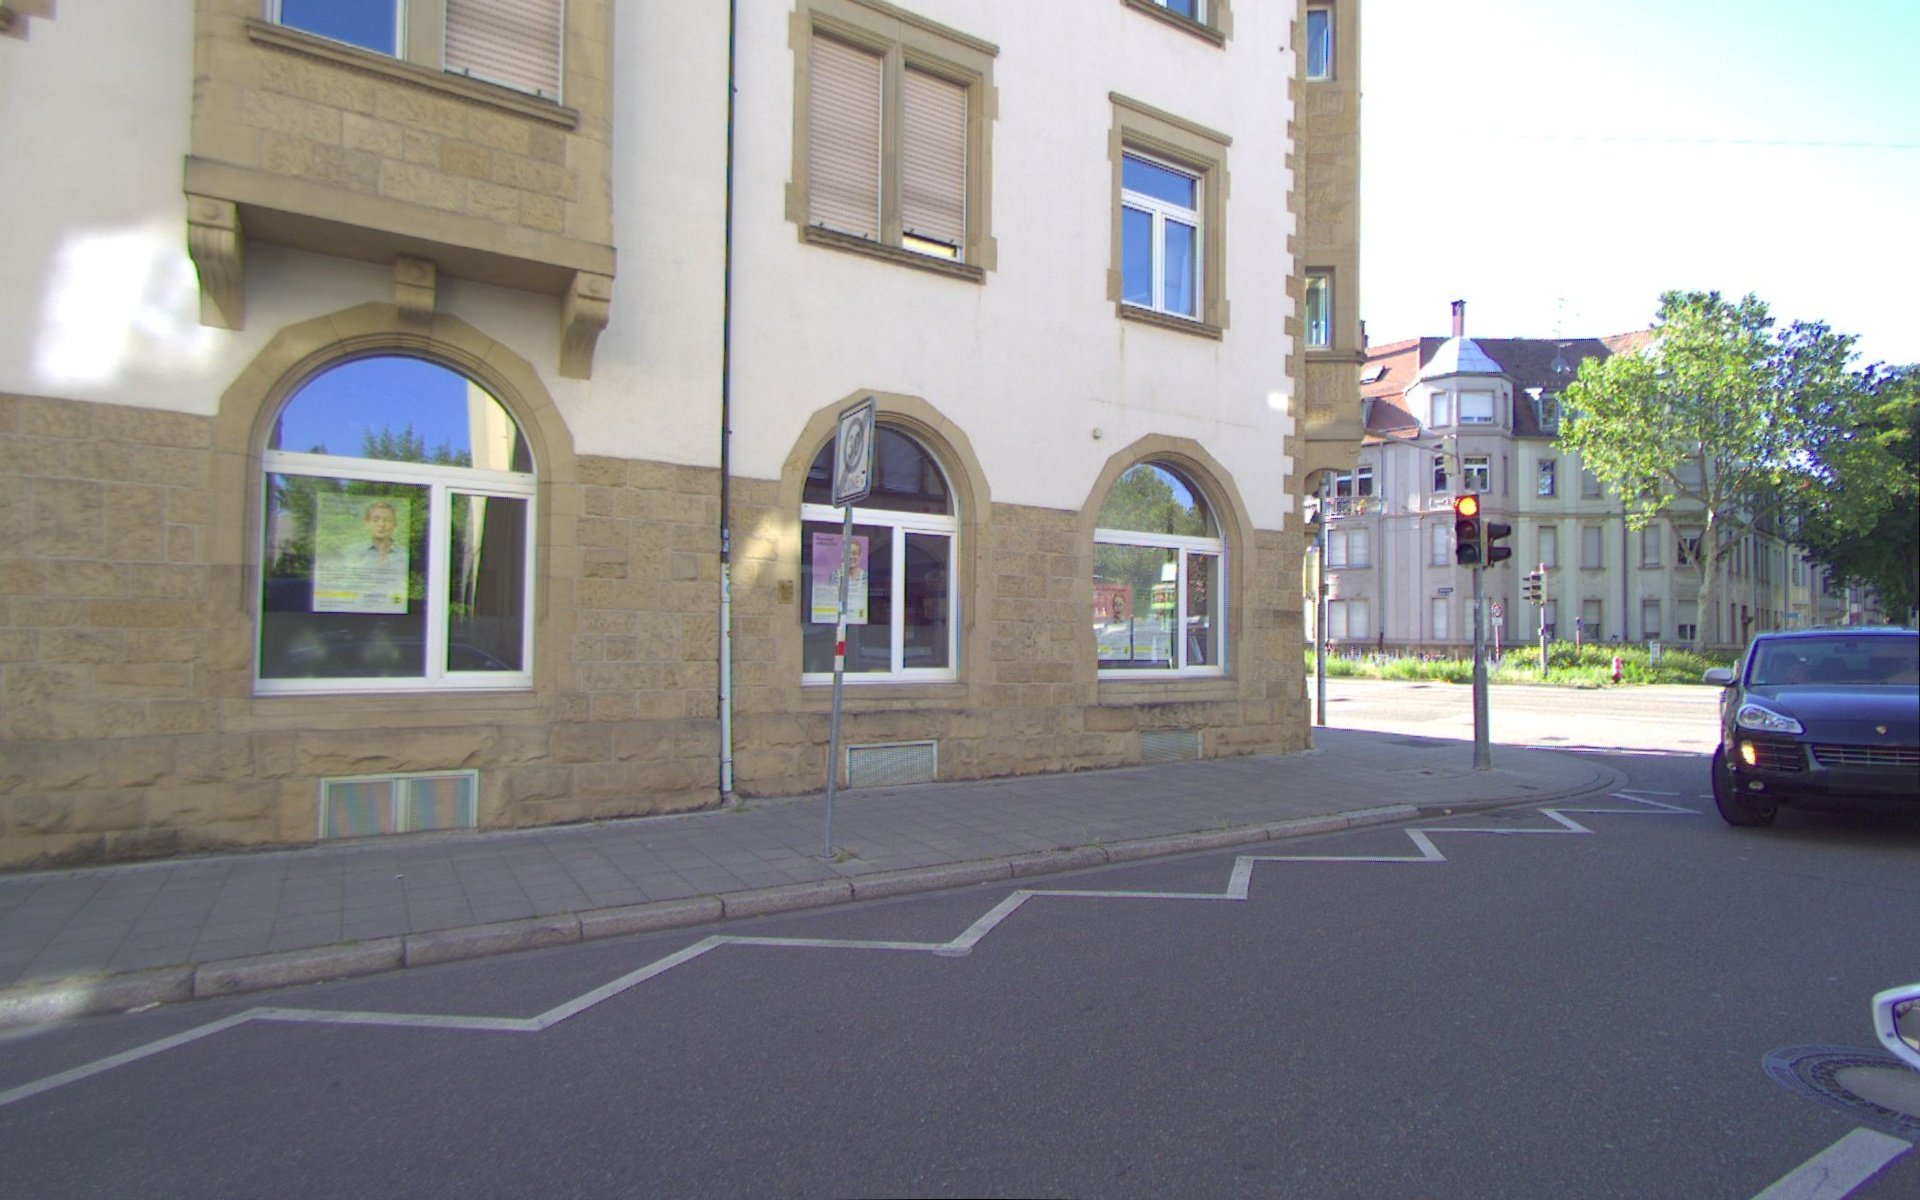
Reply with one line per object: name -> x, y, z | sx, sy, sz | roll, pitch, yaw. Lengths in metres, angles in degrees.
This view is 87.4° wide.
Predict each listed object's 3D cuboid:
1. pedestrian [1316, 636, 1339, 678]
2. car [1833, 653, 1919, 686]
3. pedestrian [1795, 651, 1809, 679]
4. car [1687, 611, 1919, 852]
pedestrian -> 18.718, 2.889, 51.165 | 0.826, 2.040, 0.748 | 2, 0, 44
car -> 45.465, 3.404, 49.509 | 1.647, 1.476, 3.595 | 2, -2, -44
pedestrian -> 45.440, 3.496, 54.187 | 0.483, 1.461, 0.701 | 2, 0, 45
car -> 8.050, 1.048, 9.180 | 2.045, 1.715, 4.696 | -3, -4, 34
